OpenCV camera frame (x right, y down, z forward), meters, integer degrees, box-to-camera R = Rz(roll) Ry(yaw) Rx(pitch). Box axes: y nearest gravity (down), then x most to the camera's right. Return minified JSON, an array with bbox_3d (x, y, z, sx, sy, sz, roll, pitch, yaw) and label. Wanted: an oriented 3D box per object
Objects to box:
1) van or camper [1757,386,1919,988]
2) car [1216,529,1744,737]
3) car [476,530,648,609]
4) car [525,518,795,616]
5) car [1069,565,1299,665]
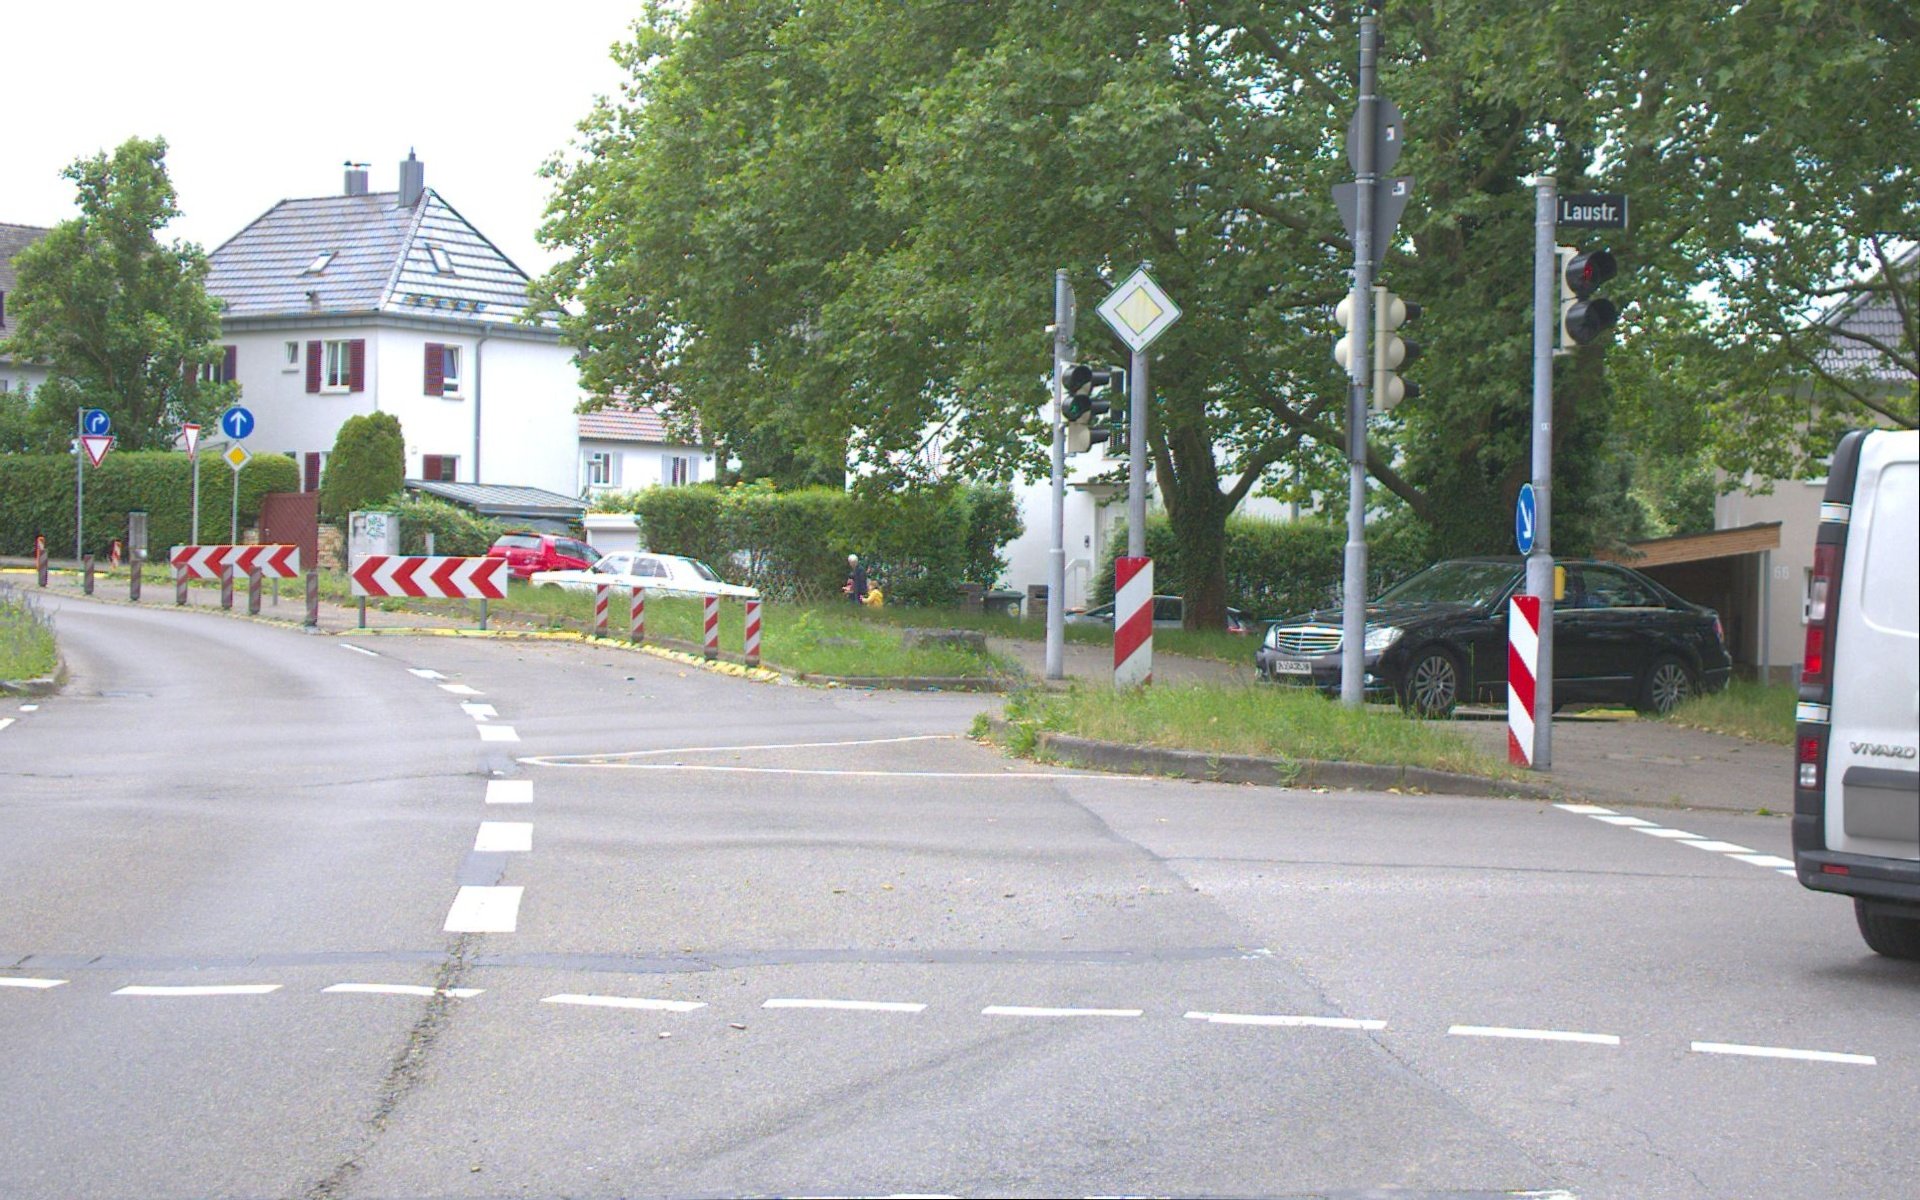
[{"bbox_3d":[5.079,0.313,13.013,1.929,2.007,4.817,3,1,41],"label":"van or camper"},{"bbox_3d":[4.520,0.302,29.646,4.372,1.512,1.763,4,0,-33],"label":"car"},{"bbox_3d":[-8.802,-0.660,76.280,1.608,1.512,3.817,3,0,34],"label":"car"},{"bbox_3d":[-5.993,-0.670,68.700,4.874,1.785,2.213,2,1,25],"label":"car"},{"bbox_3d":[4.221,0.271,64.642,3.987,1.508,1.661,5,2,14],"label":"car"}]
